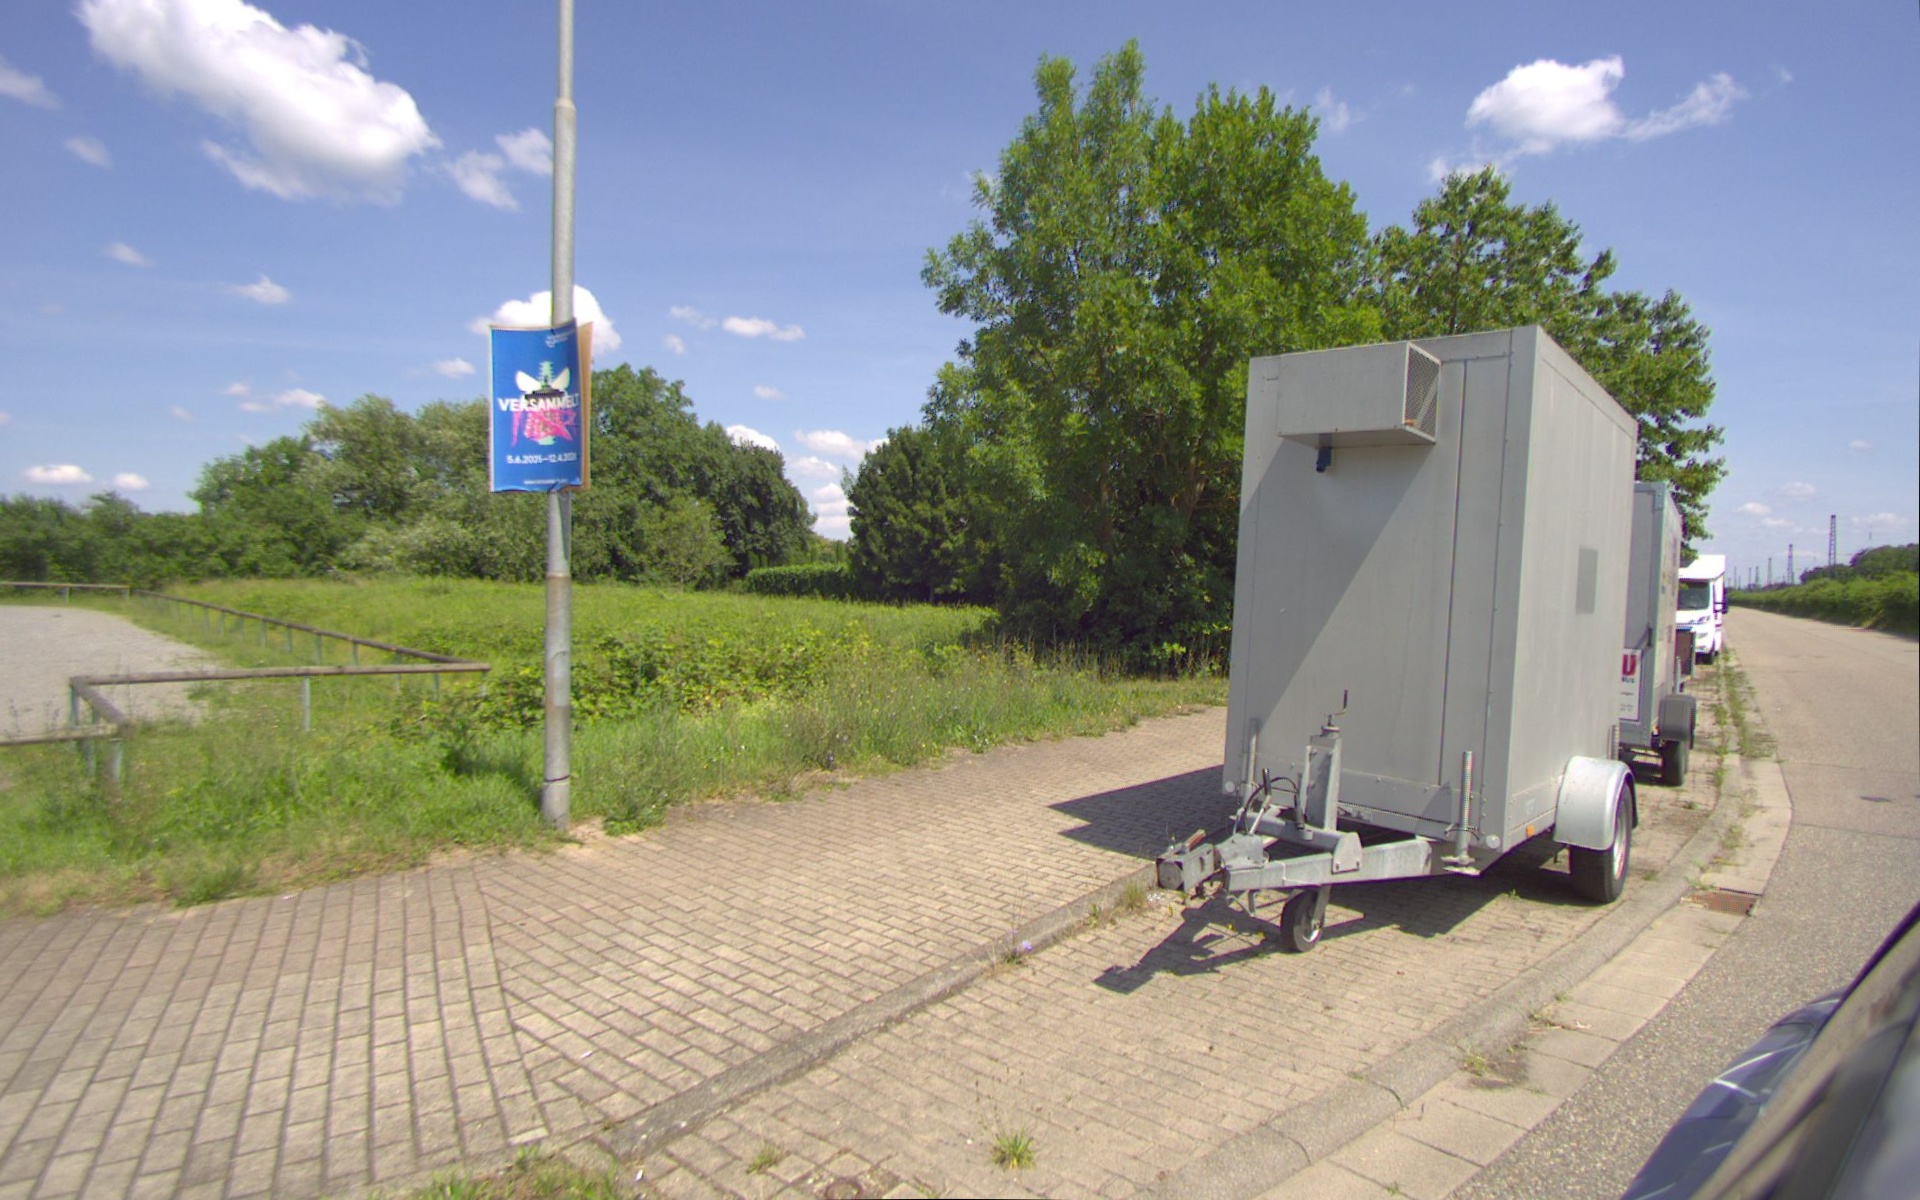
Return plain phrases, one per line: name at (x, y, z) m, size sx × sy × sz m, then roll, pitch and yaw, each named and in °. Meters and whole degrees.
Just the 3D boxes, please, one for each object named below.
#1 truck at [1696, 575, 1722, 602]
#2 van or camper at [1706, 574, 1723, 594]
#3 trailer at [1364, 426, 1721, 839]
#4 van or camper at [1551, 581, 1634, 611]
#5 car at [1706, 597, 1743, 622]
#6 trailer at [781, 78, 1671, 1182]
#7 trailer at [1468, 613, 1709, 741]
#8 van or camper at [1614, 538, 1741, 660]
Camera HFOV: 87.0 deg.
truck at (76.114, -1.167, 102.809) m, size 1.990 × 2.597 × 5.216 m, roll 2°, pitch 1°, yaw 38°
van or camper at (134.896, -2.830, 180.874) m, size 2.322 × 3.561 × 4.707 m, roll -1°, pitch 0°, yaw 37°
trailer at (5.204, 0.143, 8.666) m, size 1.915 × 2.539 × 4.676 m, roll 4°, pitch 3°, yaw 38°
van or camper at (56.318, -0.369, 90.205) m, size 2.097 × 2.468 × 5.833 m, roll 1°, pitch 1°, yaw -41°
car at (48.087, 0.569, 63.663) m, size 1.758 × 1.490 × 4.655 m, roll 3°, pitch 2°, yaw 37°
trailer at (1.817, 0.045, 4.984) m, size 1.933 × 2.676 × 5.102 m, roll 5°, pitch 3°, yaw 43°
trailer at (8.297, 0.852, 13.158) m, size 2.003 × 1.136 × 4.424 m, roll 5°, pitch 4°, yaw 40°
van or camper at (19.666, -0.086, 27.611) m, size 2.434 × 2.861 × 7.520 m, roll 3°, pitch 2°, yaw 37°
